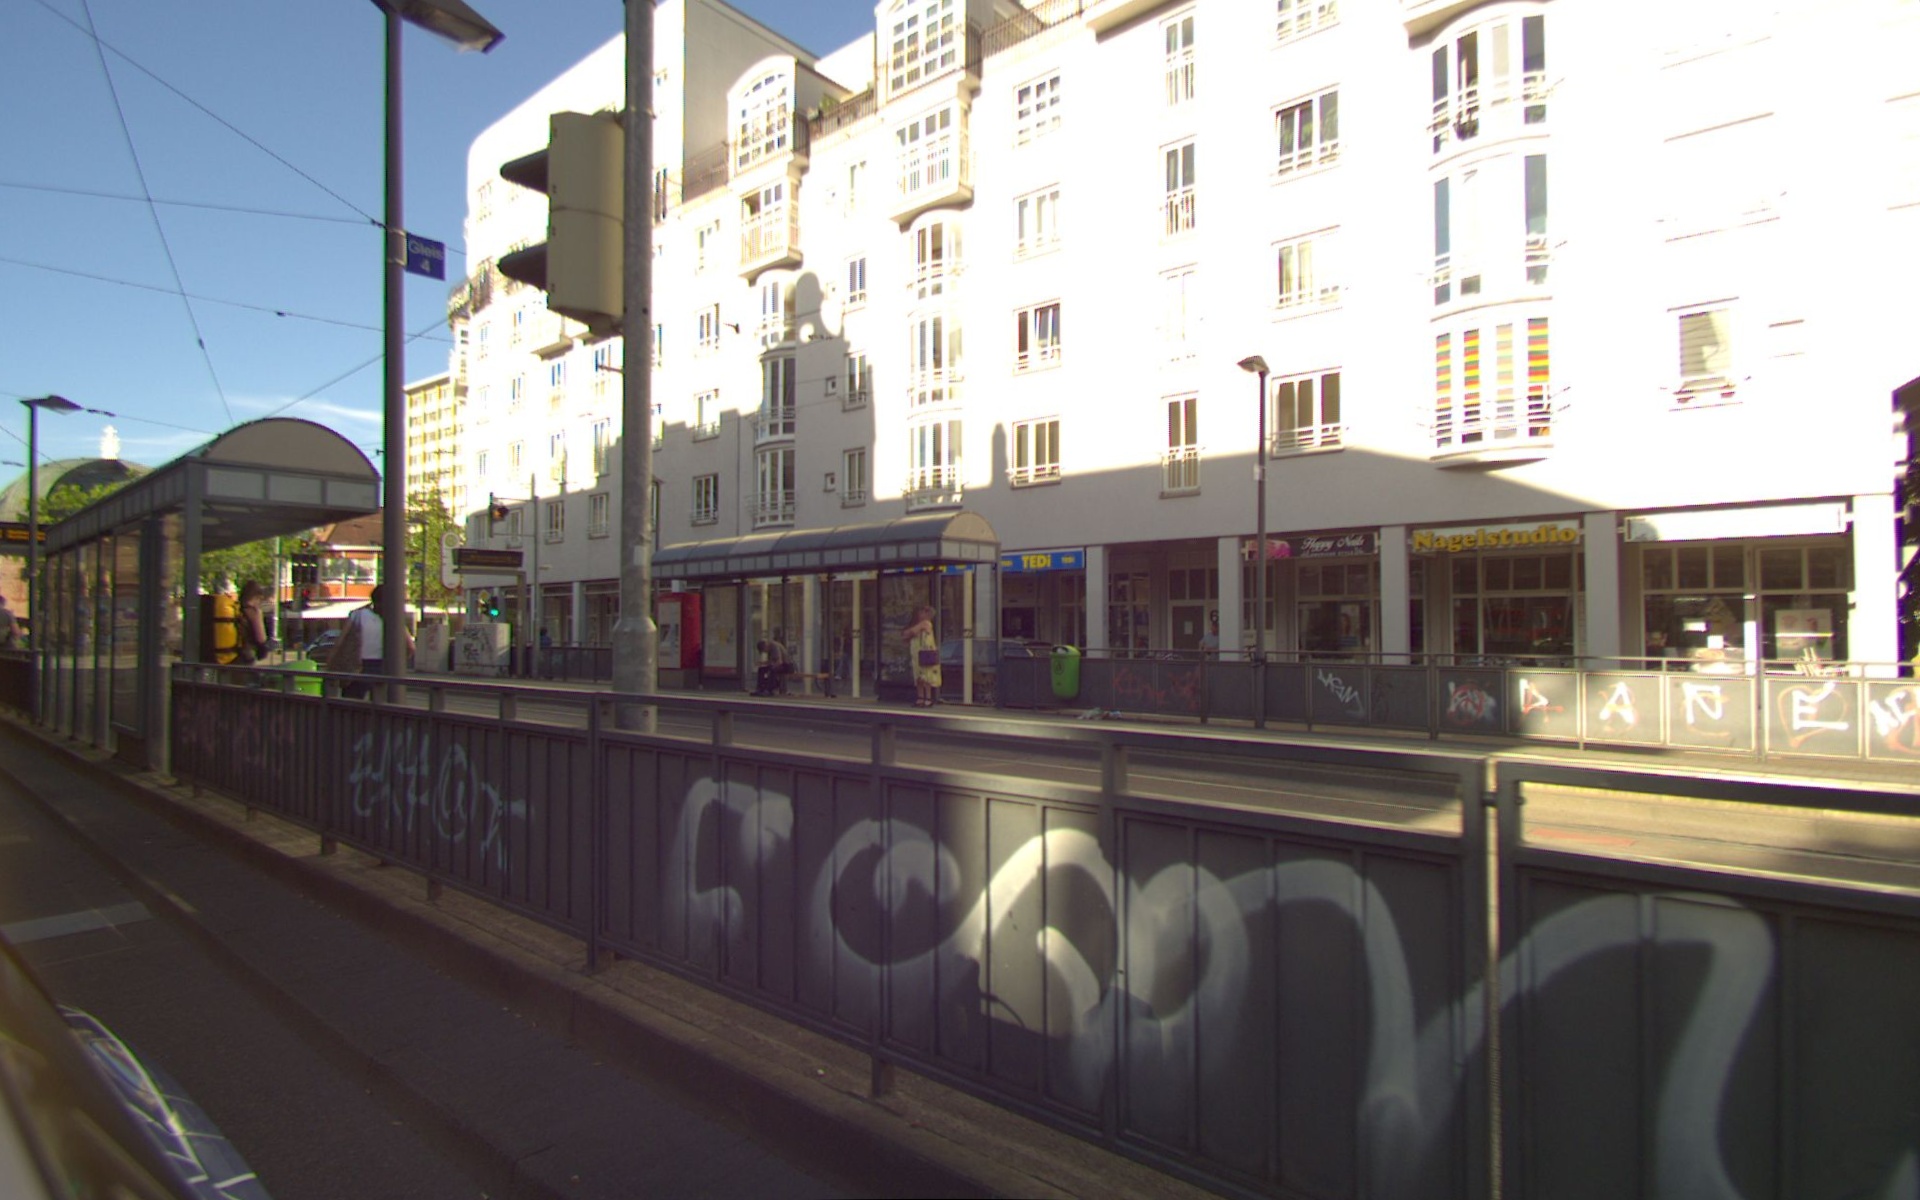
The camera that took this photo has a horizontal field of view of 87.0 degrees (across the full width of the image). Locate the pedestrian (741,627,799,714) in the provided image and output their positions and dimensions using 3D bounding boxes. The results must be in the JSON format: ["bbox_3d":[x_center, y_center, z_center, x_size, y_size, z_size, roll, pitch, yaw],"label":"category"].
[{"bbox_3d":[-3.430,1.258,18.291,0.742,1.539,0.724,-3,-3,39],"label":"pedestrian"}]

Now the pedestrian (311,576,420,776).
[{"bbox_3d":[-4.909,0.605,8.366,0.568,1.570,0.614,-2,-2,41],"label":"pedestrian"}]

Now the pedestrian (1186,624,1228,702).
[{"bbox_3d":[5.323,1.350,21.822,0.596,1.634,0.834,-2,-3,36],"label":"pedestrian"}]

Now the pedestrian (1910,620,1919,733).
[{"bbox_3d":[14.319,1.097,14.581,0.844,1.634,0.589,-2,-3,41],"label":"pedestrian"}]

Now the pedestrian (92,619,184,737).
[{"bbox_3d":[-9.290,0.862,11.443,0.657,1.282,0.703,-2,-3,43],"label":"pedestrian"}]

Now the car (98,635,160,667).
[{"bbox_3d":[-52.922,3.193,64.434,4.605,1.925,2.204,-1,-2,40],"label":"car"}]

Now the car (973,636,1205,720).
[{"bbox_3d":[2.435,1.446,19.808,4.280,1.460,1.733,-2,-3,42],"label":"car"}]

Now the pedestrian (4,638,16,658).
[{"bbox_3d":[-71.239,3.599,75.859,0.858,1.529,0.494,-2,-5,41],"label":"pedestrian"}]

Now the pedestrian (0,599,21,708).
[{"bbox_3d":[-15.476,0.845,16.199,0.629,1.710,0.934,0,0,-42],"label":"pedestrian"}]

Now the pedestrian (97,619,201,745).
[{"bbox_3d":[-8.710,0.860,10.872,0.719,1.282,0.756,-2,-3,43],"label":"pedestrian"}]

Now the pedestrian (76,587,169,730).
[{"bbox_3d":[-10.766,0.749,13.032,0.707,1.791,0.566,1,-2,-14],"label":"pedestrian"}]

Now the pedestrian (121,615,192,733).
[{"bbox_3d":[-10.941,0.996,13.790,0.577,1.574,0.471,1,-2,-14],"label":"pedestrian"}]

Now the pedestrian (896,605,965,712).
[{"bbox_3d":[-0.455,0.880,15.454,0.742,1.571,0.724,-3,-3,39],"label":"pedestrian"}]

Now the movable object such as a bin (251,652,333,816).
[{"bbox_3d":[-4.348,0.848,6.587,0.404,1.015,0.343,-2,-3,42],"label":"movable object such as a bin"}]

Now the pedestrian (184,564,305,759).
[{"bbox_3d":[-6.721,0.567,9.526,0.712,1.764,0.563,-1,-2,12],"label":"pedestrian"}]
